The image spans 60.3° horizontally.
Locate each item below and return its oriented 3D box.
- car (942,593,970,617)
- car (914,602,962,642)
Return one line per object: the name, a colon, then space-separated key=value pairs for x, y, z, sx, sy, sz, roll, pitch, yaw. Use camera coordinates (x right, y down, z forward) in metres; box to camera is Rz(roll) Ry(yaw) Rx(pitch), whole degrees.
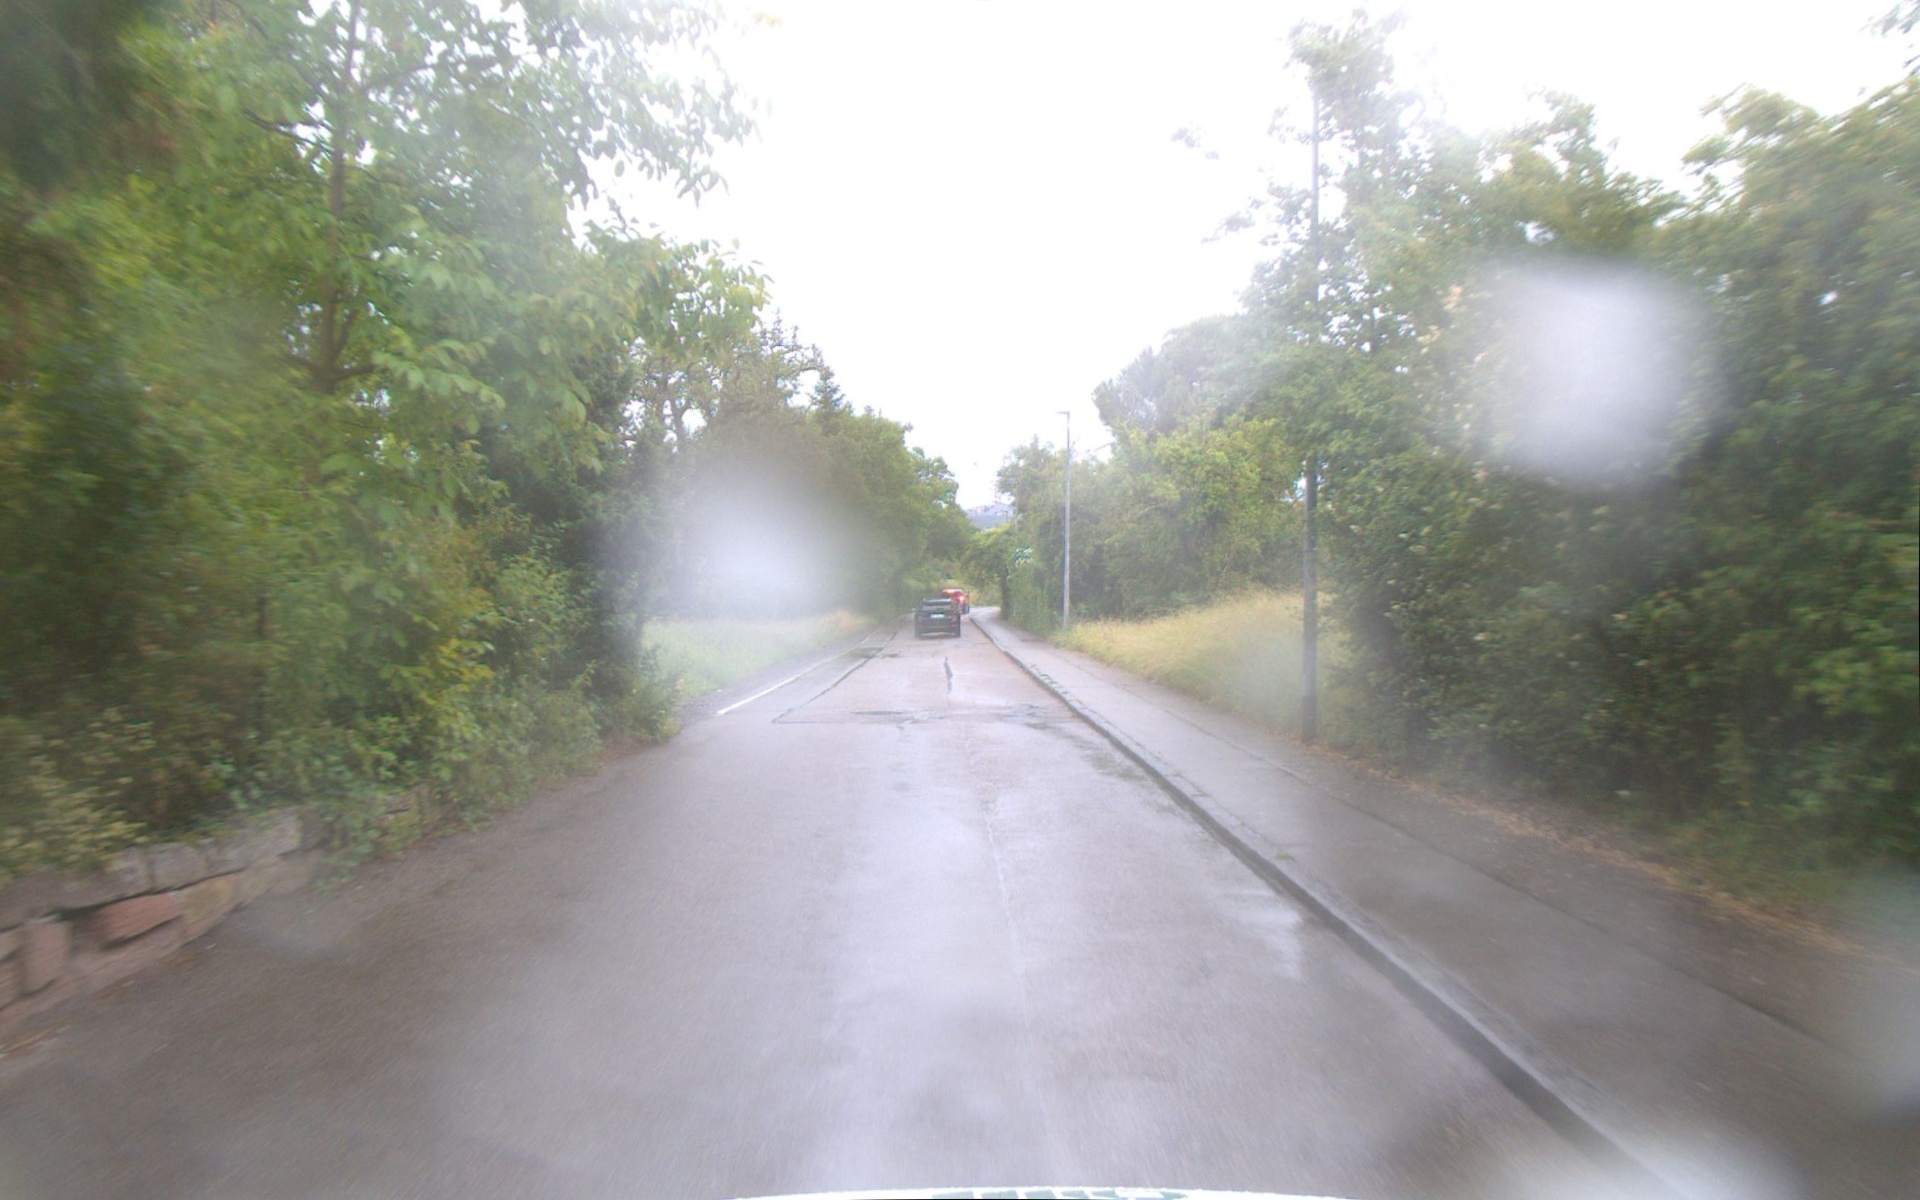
car: x=-0.234 y=0.331 z=105.213 sx=1.600 sy=1.439 sz=3.545 roll=0 pitch=-1 yaw=3
car: x=-0.814 y=0.844 z=62.786 sx=1.600 sy=1.476 sz=3.545 roll=0 pitch=-1 yaw=2
